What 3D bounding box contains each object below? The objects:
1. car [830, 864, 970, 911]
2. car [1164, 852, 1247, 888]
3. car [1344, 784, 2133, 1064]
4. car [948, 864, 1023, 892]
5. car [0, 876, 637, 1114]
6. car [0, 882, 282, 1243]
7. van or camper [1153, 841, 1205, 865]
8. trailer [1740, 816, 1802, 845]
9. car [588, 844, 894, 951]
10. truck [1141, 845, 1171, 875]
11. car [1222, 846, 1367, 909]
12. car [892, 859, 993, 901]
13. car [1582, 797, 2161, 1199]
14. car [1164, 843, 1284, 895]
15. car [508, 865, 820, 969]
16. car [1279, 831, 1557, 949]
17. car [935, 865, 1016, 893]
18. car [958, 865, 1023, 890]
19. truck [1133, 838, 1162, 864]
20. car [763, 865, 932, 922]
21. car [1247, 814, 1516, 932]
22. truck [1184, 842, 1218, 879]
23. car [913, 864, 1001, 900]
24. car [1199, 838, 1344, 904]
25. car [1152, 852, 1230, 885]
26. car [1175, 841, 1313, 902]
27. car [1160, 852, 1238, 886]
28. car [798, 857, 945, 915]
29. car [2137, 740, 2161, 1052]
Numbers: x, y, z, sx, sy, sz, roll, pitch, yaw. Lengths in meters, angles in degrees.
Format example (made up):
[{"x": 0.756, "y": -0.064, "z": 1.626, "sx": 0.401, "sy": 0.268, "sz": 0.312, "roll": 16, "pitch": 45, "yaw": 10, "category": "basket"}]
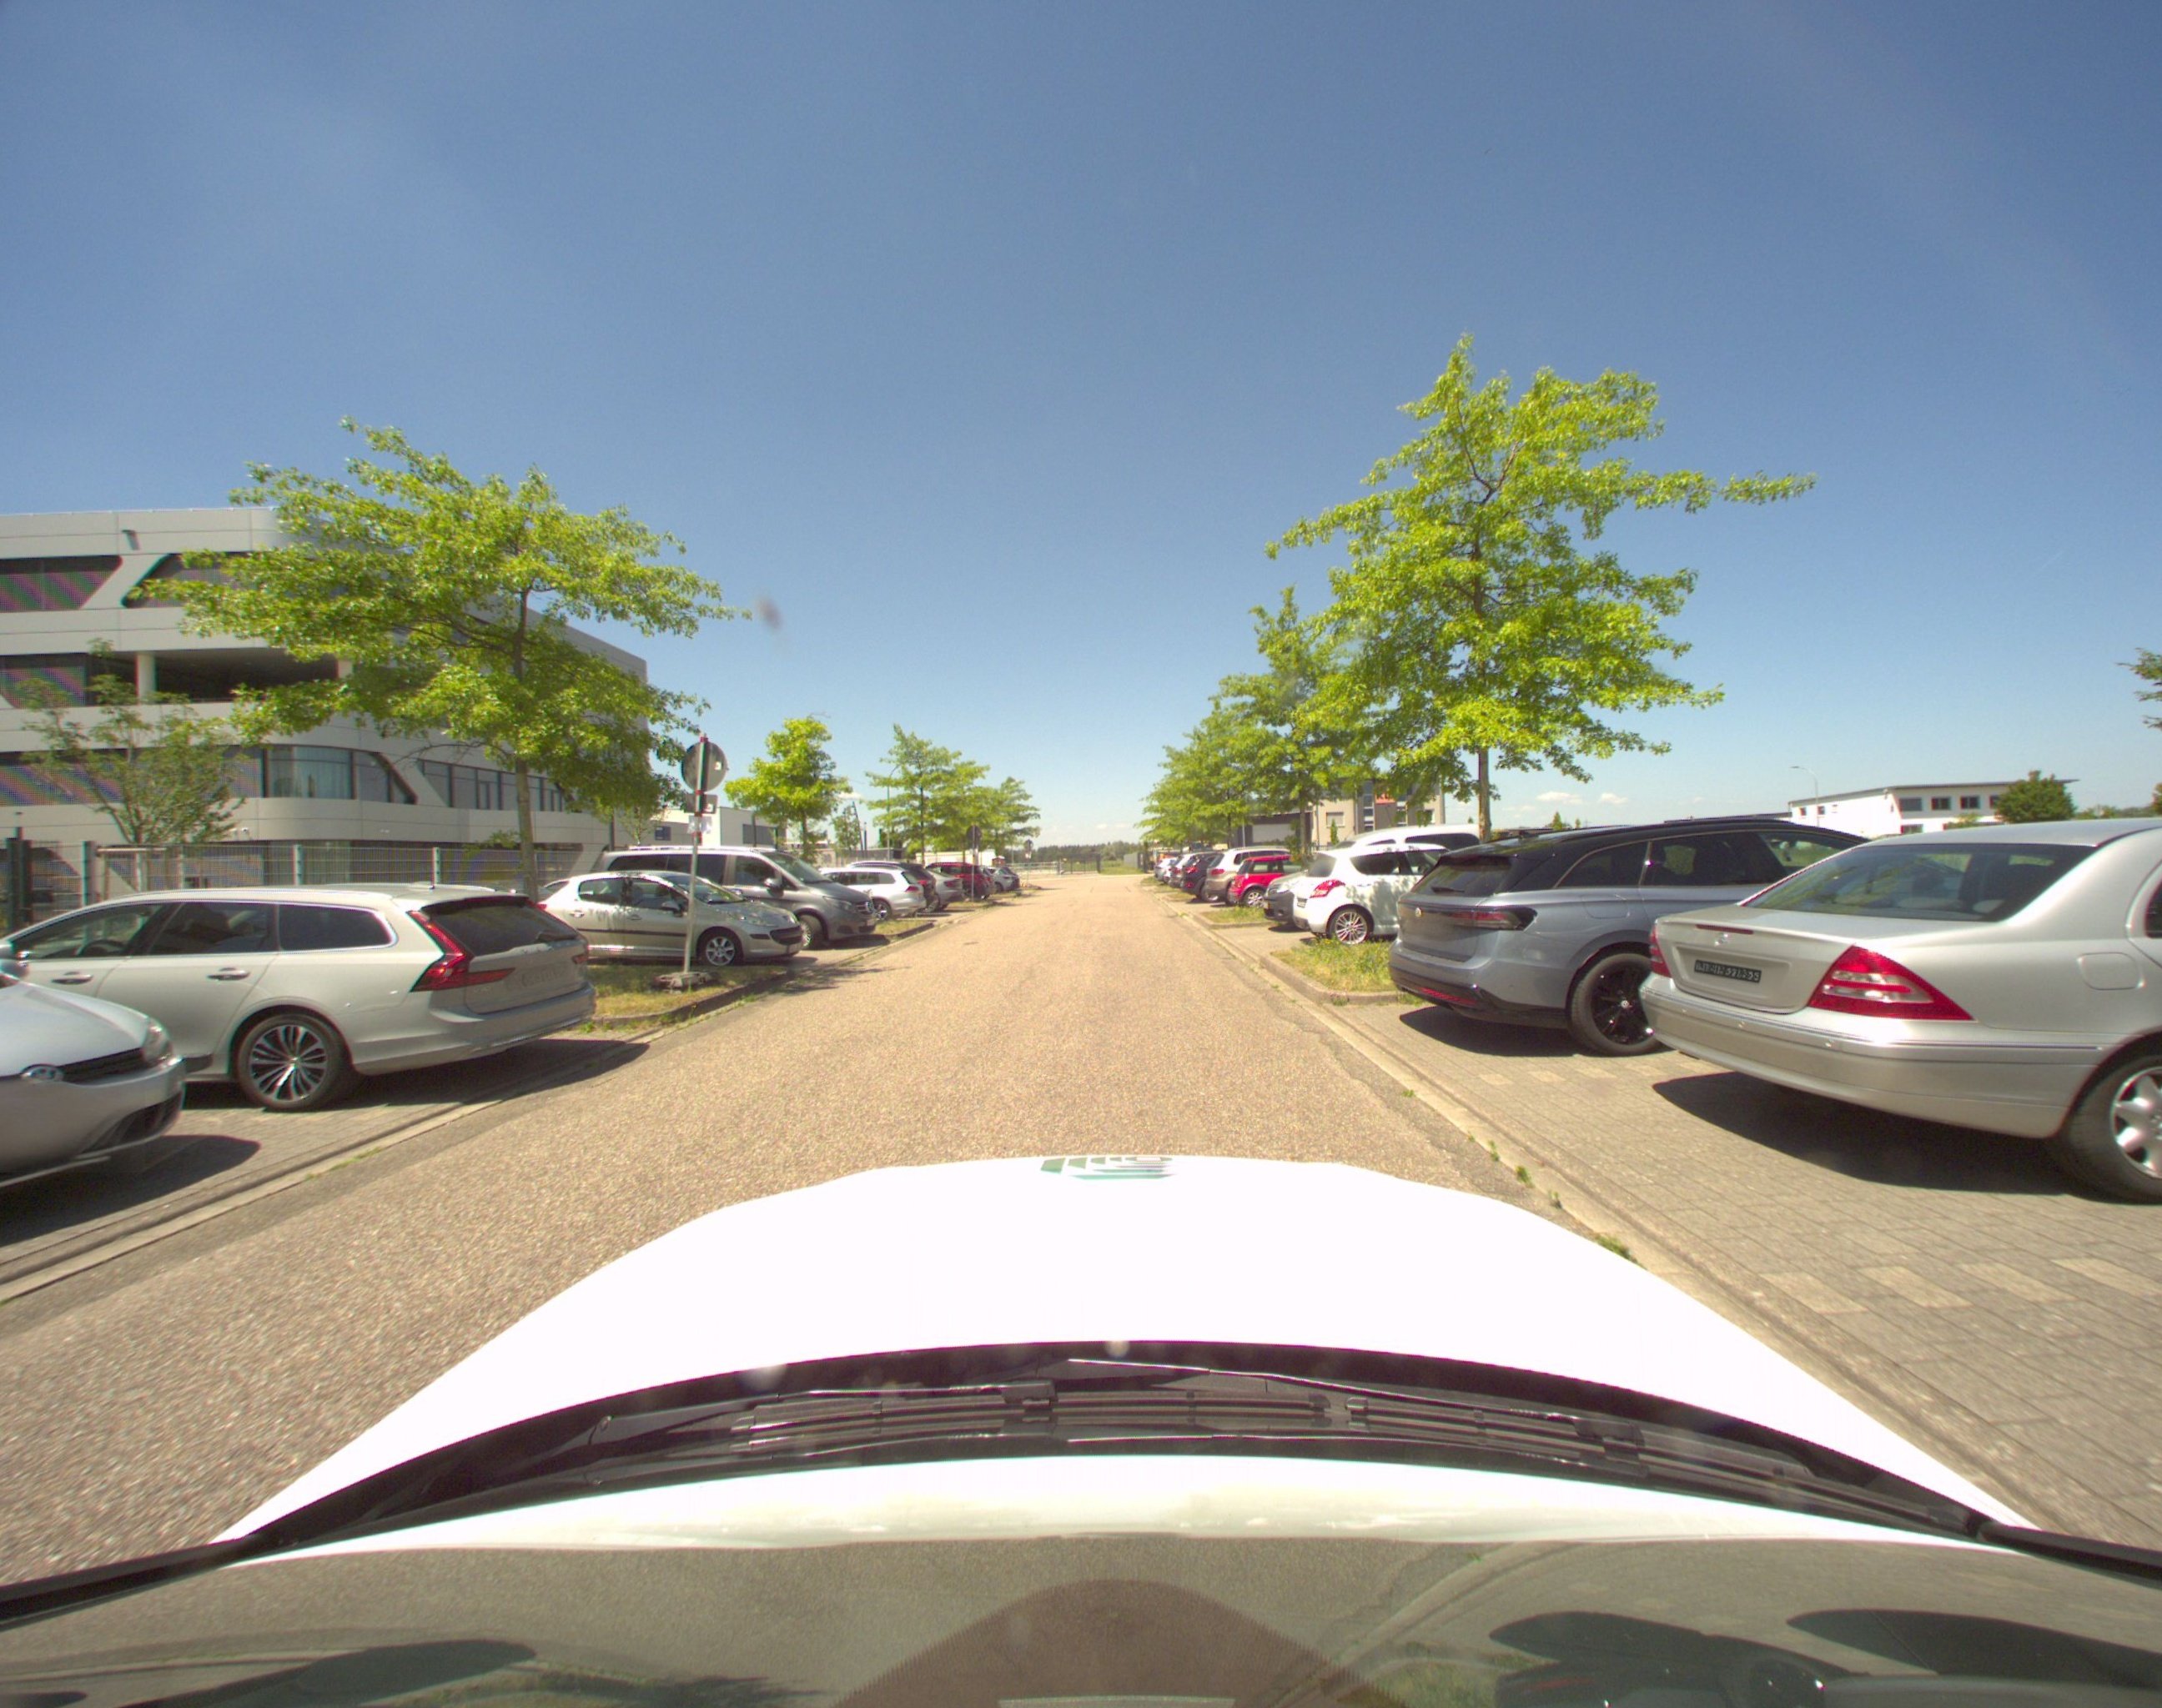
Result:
[{"x": -5.894, "y": 1.068, "z": 26.883, "sx": 4.177, "sy": 1.480, "sz": 1.713, "roll": 0, "pitch": -1, "yaw": 1, "category": "car"}, {"x": 6.459, "y": 0.840, "z": 42.545, "sx": 4.052, "sy": 1.608, "sz": 1.902, "roll": -3, "pitch": -2, "yaw": 2, "category": "car"}, {"x": 4.763, "y": 0.460, "z": 6.413, "sx": 4.705, "sy": 1.561, "sz": 1.912, "roll": -4, "pitch": -1, "yaw": -3, "category": "car"}, {"x": -5.240, "y": 1.324, "z": 45.059, "sx": 3.916, "sy": 1.521, "sz": 1.784, "roll": 0, "pitch": -1, "yaw": -2, "category": "car"}, {"x": -6.224, "y": 0.920, "z": 6.117, "sx": 4.700, "sy": 1.447, "sz": 1.856, "roll": 0, "pitch": 0, "yaw": -2, "category": "car"}, {"x": -6.683, "y": 0.900, "z": 3.711, "sx": 4.298, "sy": 1.473, "sz": 1.727, "roll": 0, "pitch": 0, "yaw": -1, "category": "car"}, {"x": 9.710, "y": -0.124, "z": 80.861, "sx": 4.919, "sy": 2.163, "sz": 2.000, "roll": -2, "pitch": 0, "yaw": 0, "category": "van or camper"}, {"x": 65.613, "y": -2.209, "z": 77.473, "sx": 3.974, "sy": 2.600, "sz": 2.232, "roll": -2, "pitch": 0, "yaw": 0, "category": "trailer"}, {"x": -6.406, "y": 0.804, "z": 15.749, "sx": 5.049, "sy": 1.892, "sz": 1.998, "roll": -1, "pitch": 0, "yaw": 2, "category": "car"}, {"x": 8.133, "y": 0.607, "z": 89.201, "sx": 2.717, "sy": 3.062, "sz": 6.936, "roll": -2, "pitch": 0, "yaw": 1, "category": "truck"}, {"x": 5.695, "y": 0.621, "z": 22.032, "sx": 3.445, "sy": 1.417, "sz": 1.755, "roll": -4, "pitch": -1, "yaw": 1, "category": "car"}, {"x": -5.579, "y": 1.039, "z": 33.154, "sx": 3.723, "sy": 1.621, "sz": 1.817, "roll": 0, "pitch": -1, "yaw": 2, "category": "car"}, {"x": 4.965, "y": 0.475, "z": 3.904, "sx": 4.031, "sy": 1.453, "sz": 1.646, "roll": -4, "pitch": -1, "yaw": 2, "category": "car"}, {"x": 5.771, "y": 0.601, "z": 33.278, "sx": 4.436, "sy": 1.768, "sz": 1.992, "roll": -3, "pitch": -1, "yaw": -1, "category": "car"}, {"x": -6.397, "y": 0.936, "z": 12.804, "sx": 3.954, "sy": 1.484, "sz": 1.764, "roll": 0, "pitch": 0, "yaw": 1, "category": "car"}, {"x": 5.131, "y": 0.539, "z": 12.781, "sx": 3.617, "sy": 1.503, "sz": 1.677, "roll": -4, "pitch": -1, "yaw": 2, "category": "car"}, {"x": -5.462, "y": 1.302, "z": 42.591, "sx": 4.065, "sy": 1.424, "sz": 1.872, "roll": 0, "pitch": -1, "yaw": -3, "category": "car"}, {"x": -5.212, "y": 1.368, "z": 47.264, "sx": 3.615, "sy": 1.436, "sz": 1.725, "roll": 0, "pitch": -1, "yaw": -2, "category": "car"}, {"x": 7.821, "y": -0.314, "z": 97.250, "sx": 2.911, "sy": 2.938, "sz": 6.936, "roll": -2, "pitch": 0, "yaw": 1, "category": "truck"}, {"x": -6.136, "y": 1.022, "z": 21.731, "sx": 4.026, "sy": 1.461, "sz": 1.603, "roll": 0, "pitch": -1, "yaw": -2, "category": "car"}, {"x": 5.541, "y": 0.357, "z": 15.467, "sx": 4.386, "sy": 1.830, "sz": 1.797, "roll": -4, "pitch": -1, "yaw": 2, "category": "car"}, {"x": 13.586, "y": 0.695, "z": 92.712, "sx": 2.911, "sy": 3.929, "sz": 6.936, "roll": -2, "pitch": 0, "yaw": 1, "category": "truck"}, {"x": -5.404, "y": 1.192, "z": 35.766, "sx": 3.647, "sy": 1.508, "sz": 1.730, "roll": 0, "pitch": -1, "yaw": -3, "category": "car"}, {"x": 5.587, "y": 0.491, "z": 24.260, "sx": 3.861, "sy": 1.678, "sz": 1.783, "roll": -4, "pitch": -1, "yaw": 1, "category": "car"}, {"x": 6.387, "y": 0.832, "z": 47.551, "sx": 4.263, "sy": 1.644, "sz": 1.851, "roll": -3, "pitch": -1, "yaw": 1, "category": "car"}, {"x": 5.319, "y": 0.562, "z": 26.973, "sx": 4.159, "sy": 1.696, "sz": 1.782, "roll": -4, "pitch": -1, "yaw": 0, "category": "car"}, {"x": 6.495, "y": 0.821, "z": 45.071, "sx": 3.973, "sy": 1.644, "sz": 1.838, "roll": -3, "pitch": -1, "yaw": 0, "category": "car"}, {"x": -6.216, "y": 0.939, "z": 24.477, "sx": 3.978, "sy": 1.678, "sz": 1.775, "roll": 0, "pitch": -1, "yaw": -4, "category": "car"}, {"x": 4.908, "y": 0.374, "z": 1.315, "sx": 4.031, "sy": 1.625, "sz": 1.694, "roll": -4, "pitch": -1, "yaw": 2, "category": "car"}]
